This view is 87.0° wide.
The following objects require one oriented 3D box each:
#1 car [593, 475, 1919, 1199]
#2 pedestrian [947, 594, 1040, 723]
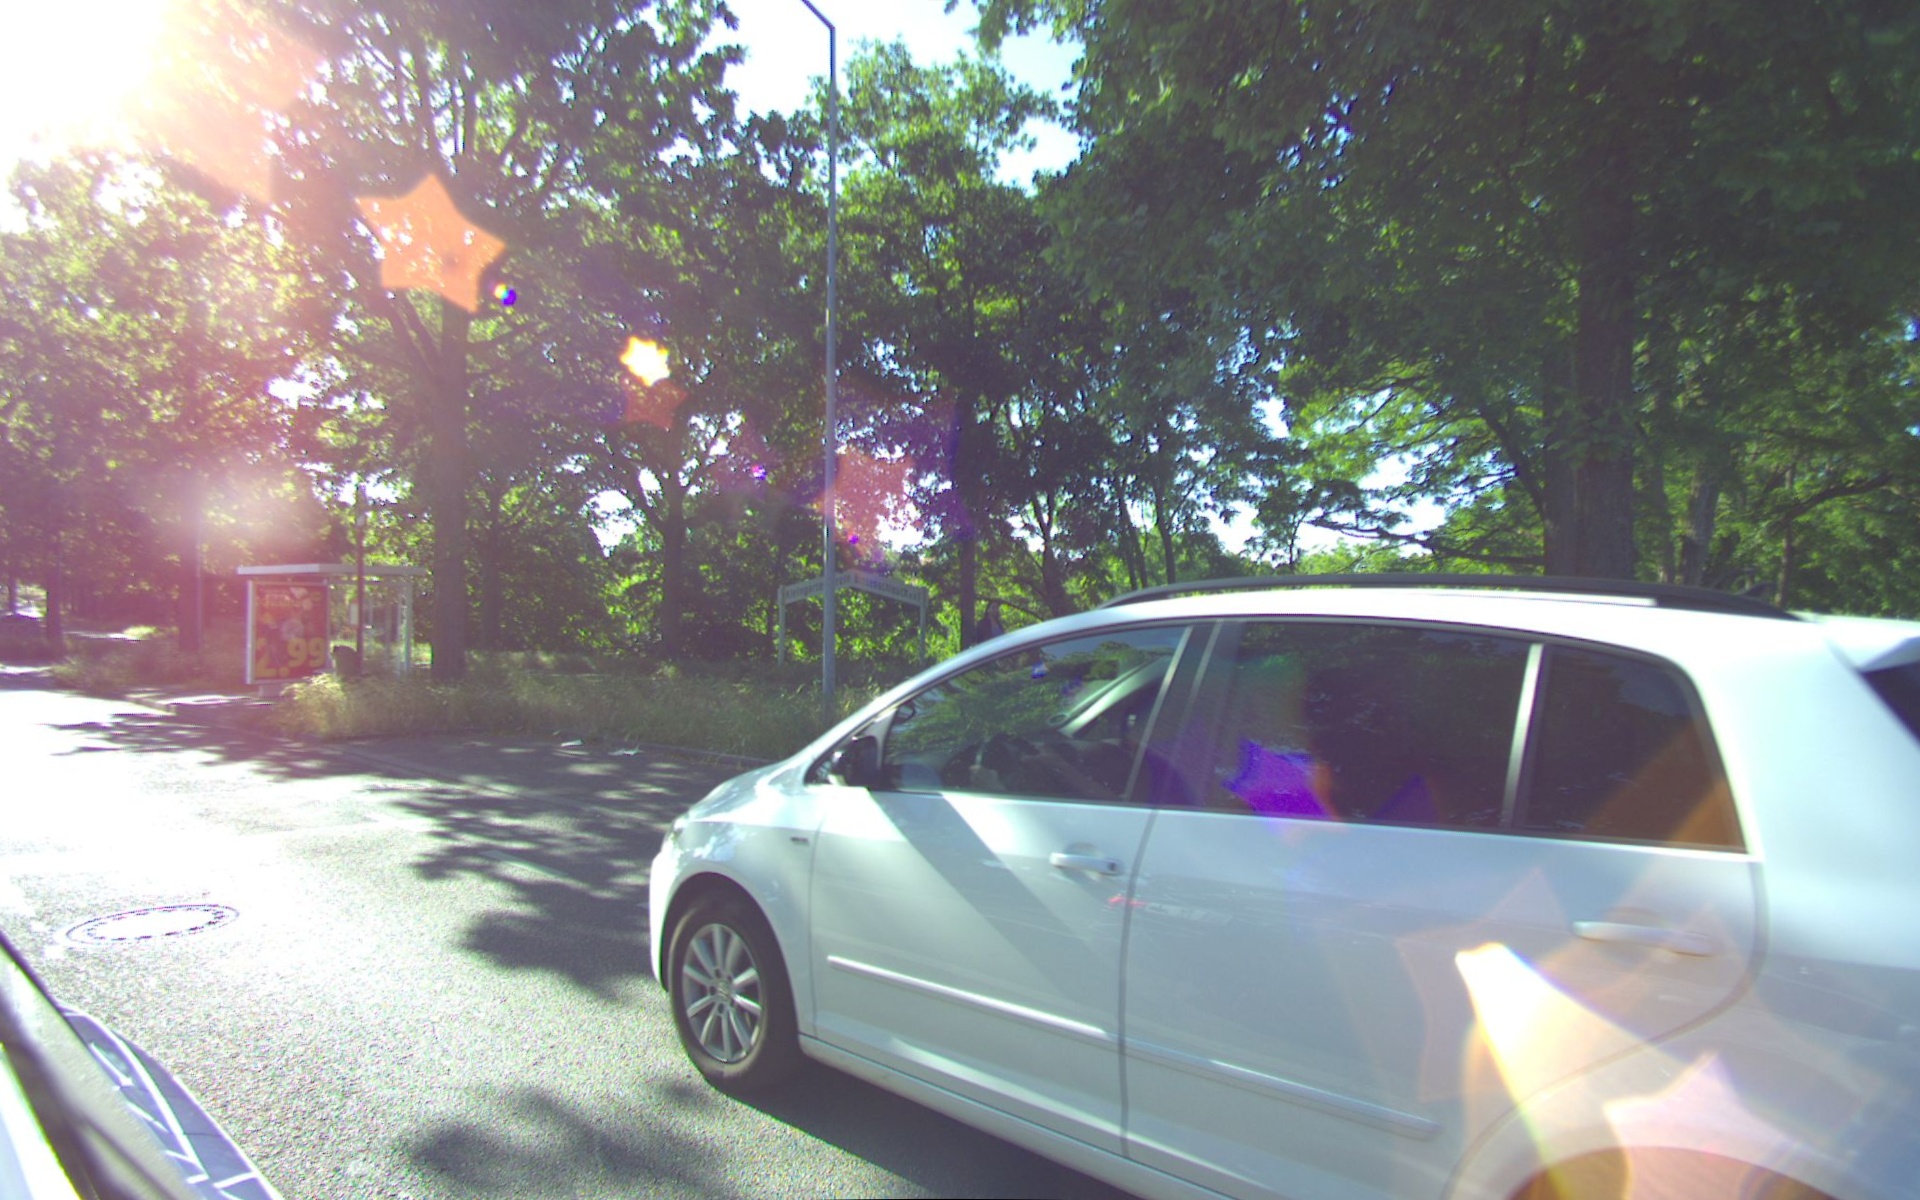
[{"bbox_3d":[0.789,0.654,2.890,4.119,1.575,1.733,-1,-1,42],"label":"car"},{"bbox_3d":[0.466,0.782,14.016,0.891,1.701,0.903,-2,-1,42],"label":"pedestrian"}]
